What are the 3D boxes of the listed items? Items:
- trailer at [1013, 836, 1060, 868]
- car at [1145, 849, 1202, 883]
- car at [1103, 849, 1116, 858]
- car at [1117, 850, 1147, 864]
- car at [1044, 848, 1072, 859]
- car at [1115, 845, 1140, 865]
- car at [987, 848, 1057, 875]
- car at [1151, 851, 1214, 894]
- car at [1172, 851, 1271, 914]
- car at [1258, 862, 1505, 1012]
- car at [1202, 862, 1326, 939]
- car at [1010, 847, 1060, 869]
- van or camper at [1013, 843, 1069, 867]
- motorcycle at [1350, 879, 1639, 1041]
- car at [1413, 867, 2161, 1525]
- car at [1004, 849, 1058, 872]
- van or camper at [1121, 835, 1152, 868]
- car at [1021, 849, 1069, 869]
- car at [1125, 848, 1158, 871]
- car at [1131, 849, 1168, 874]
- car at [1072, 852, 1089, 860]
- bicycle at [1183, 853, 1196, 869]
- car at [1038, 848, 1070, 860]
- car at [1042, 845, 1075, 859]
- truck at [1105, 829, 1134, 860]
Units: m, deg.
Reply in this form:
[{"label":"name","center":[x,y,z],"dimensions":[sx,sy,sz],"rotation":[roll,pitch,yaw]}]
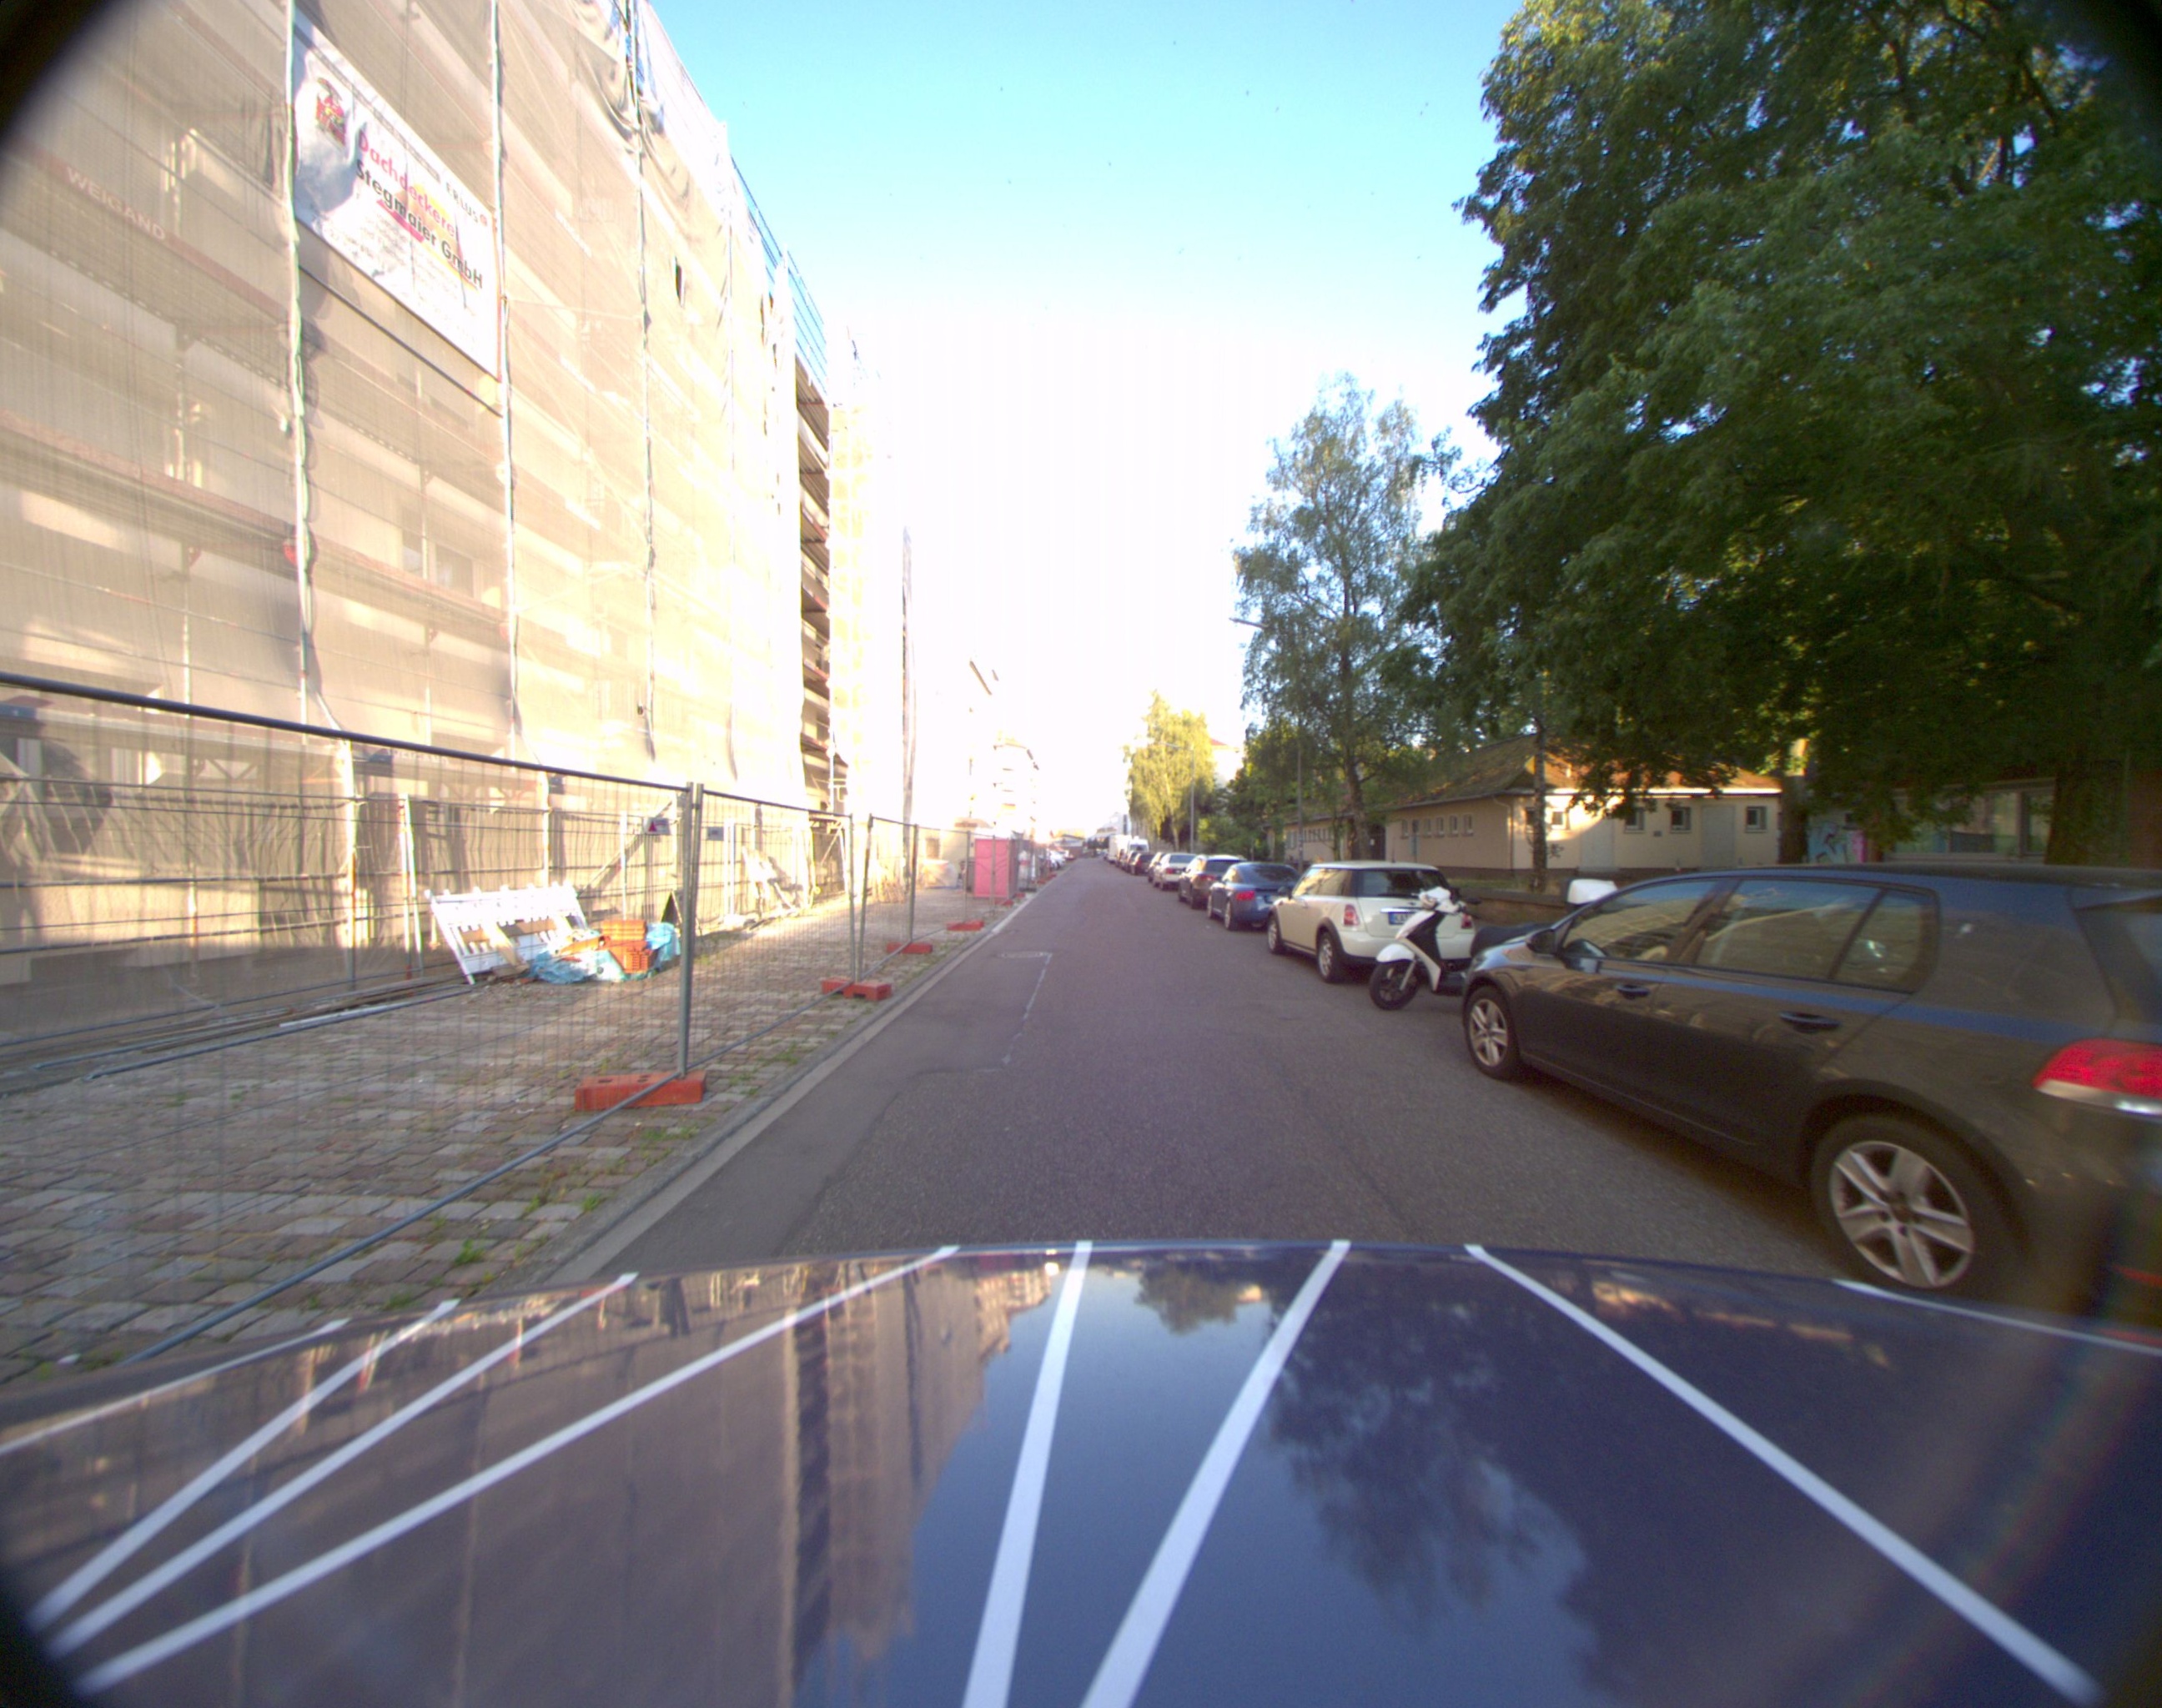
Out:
[{"label":"trailer","center":[-3.519,-0.162,59.947],"dimensions":[3.577,2.323,1.940],"rotation":[2,1,-2]},{"label":"car","center":[4.210,0.512,35.190],"dimensions":[1.999,1.444,3.999],"rotation":[-1,1,-2]},{"label":"car","center":[4.984,-0.053,131.414],"dimensions":[1.999,1.481,4.431],"rotation":[-1,0,-1]},{"label":"car","center":[4.305,0.243,64.782],"dimensions":[1.999,1.182,4.034],"rotation":[-1,0,-4]},{"label":"car","center":[-3.242,-0.083,108.007],"dimensions":[3.998,1.619,1.784],"rotation":[0,1,-2]},{"label":"car","center":[4.280,0.104,70.137],"dimensions":[1.915,1.777,4.949],"rotation":[1,0,-1]},{"label":"car","center":[-3.643,0.464,47.430],"dimensions":[4.163,1.606,1.872],"rotation":[0,1,2]},{"label":"car","center":[3.853,0.647,29.562],"dimensions":[1.787,1.437,4.748],"rotation":[2,1,0]},{"label":"car","center":[3.773,0.699,21.269],"dimensions":[1.864,1.529,4.758],"rotation":[1,1,0]},{"label":"car","center":[3.575,0.891,9.826],"dimensions":[1.605,1.423,3.803],"rotation":[2,1,-1]},{"label":"car","center":[3.664,0.870,15.916],"dimensions":[1.663,1.306,4.154],"rotation":[1,1,1]},{"label":"car","center":[-3.735,0.328,62.050],"dimensions":[3.997,1.718,1.999],"rotation":[0,2,-1]},{"label":"van or camper","center":[-3.538,0.090,67.415],"dimensions":[4.846,2.084,2.040],"rotation":[0,1,0]},{"label":"motorcycle","center":[3.649,0.908,6.946],"dimensions":[2.167,1.296,0.881],"rotation":[-1,1,15]},{"label":"car","center":[3.485,0.885,3.759],"dimensions":[1.720,1.487,4.360],"rotation":[1,1,0]},{"label":"car","center":[-3.758,0.480,57.427],"dimensions":[3.998,1.628,1.902],"rotation":[0,1,-2]},{"label":"van or camper","center":[4.294,-0.177,59.315],"dimensions":[1.998,2.442,6.082],"rotation":[0,0,0]},{"label":"car","center":[-3.044,0.413,64.683],"dimensions":[3.997,1.630,1.999],"rotation":[0,1,-1]},{"label":"car","center":[4.210,0.368,53.570],"dimensions":[1.998,1.510,4.789],"rotation":[-1,1,1]},{"label":"car","center":[4.195,0.458,47.176],"dimensions":[1.998,1.444,4.288],"rotation":[-1,1,1]},{"label":"car","center":[-0.066,0.337,129.977],"dimensions":[2.000,1.481,4.427],"rotation":[-1,0,-11]},{"label":"bicycle","center":[7.473,0.474,52.327],"dimensions":[0.544,1.111,1.955],"rotation":[-1,0,-1]},{"label":"car","center":[-3.633,-0.002,102.992],"dimensions":[4.311,1.532,1.923],"rotation":[0,1,2]},{"label":"car","center":[-3.239,-0.291,110.774],"dimensions":[4.685,1.988,2.000],"rotation":[0,1,1]},{"label":"truck","center":[4.362,-1.053,87.397],"dimensions":[2.532,3.334,8.015],"rotation":[2,1,-2]}]
